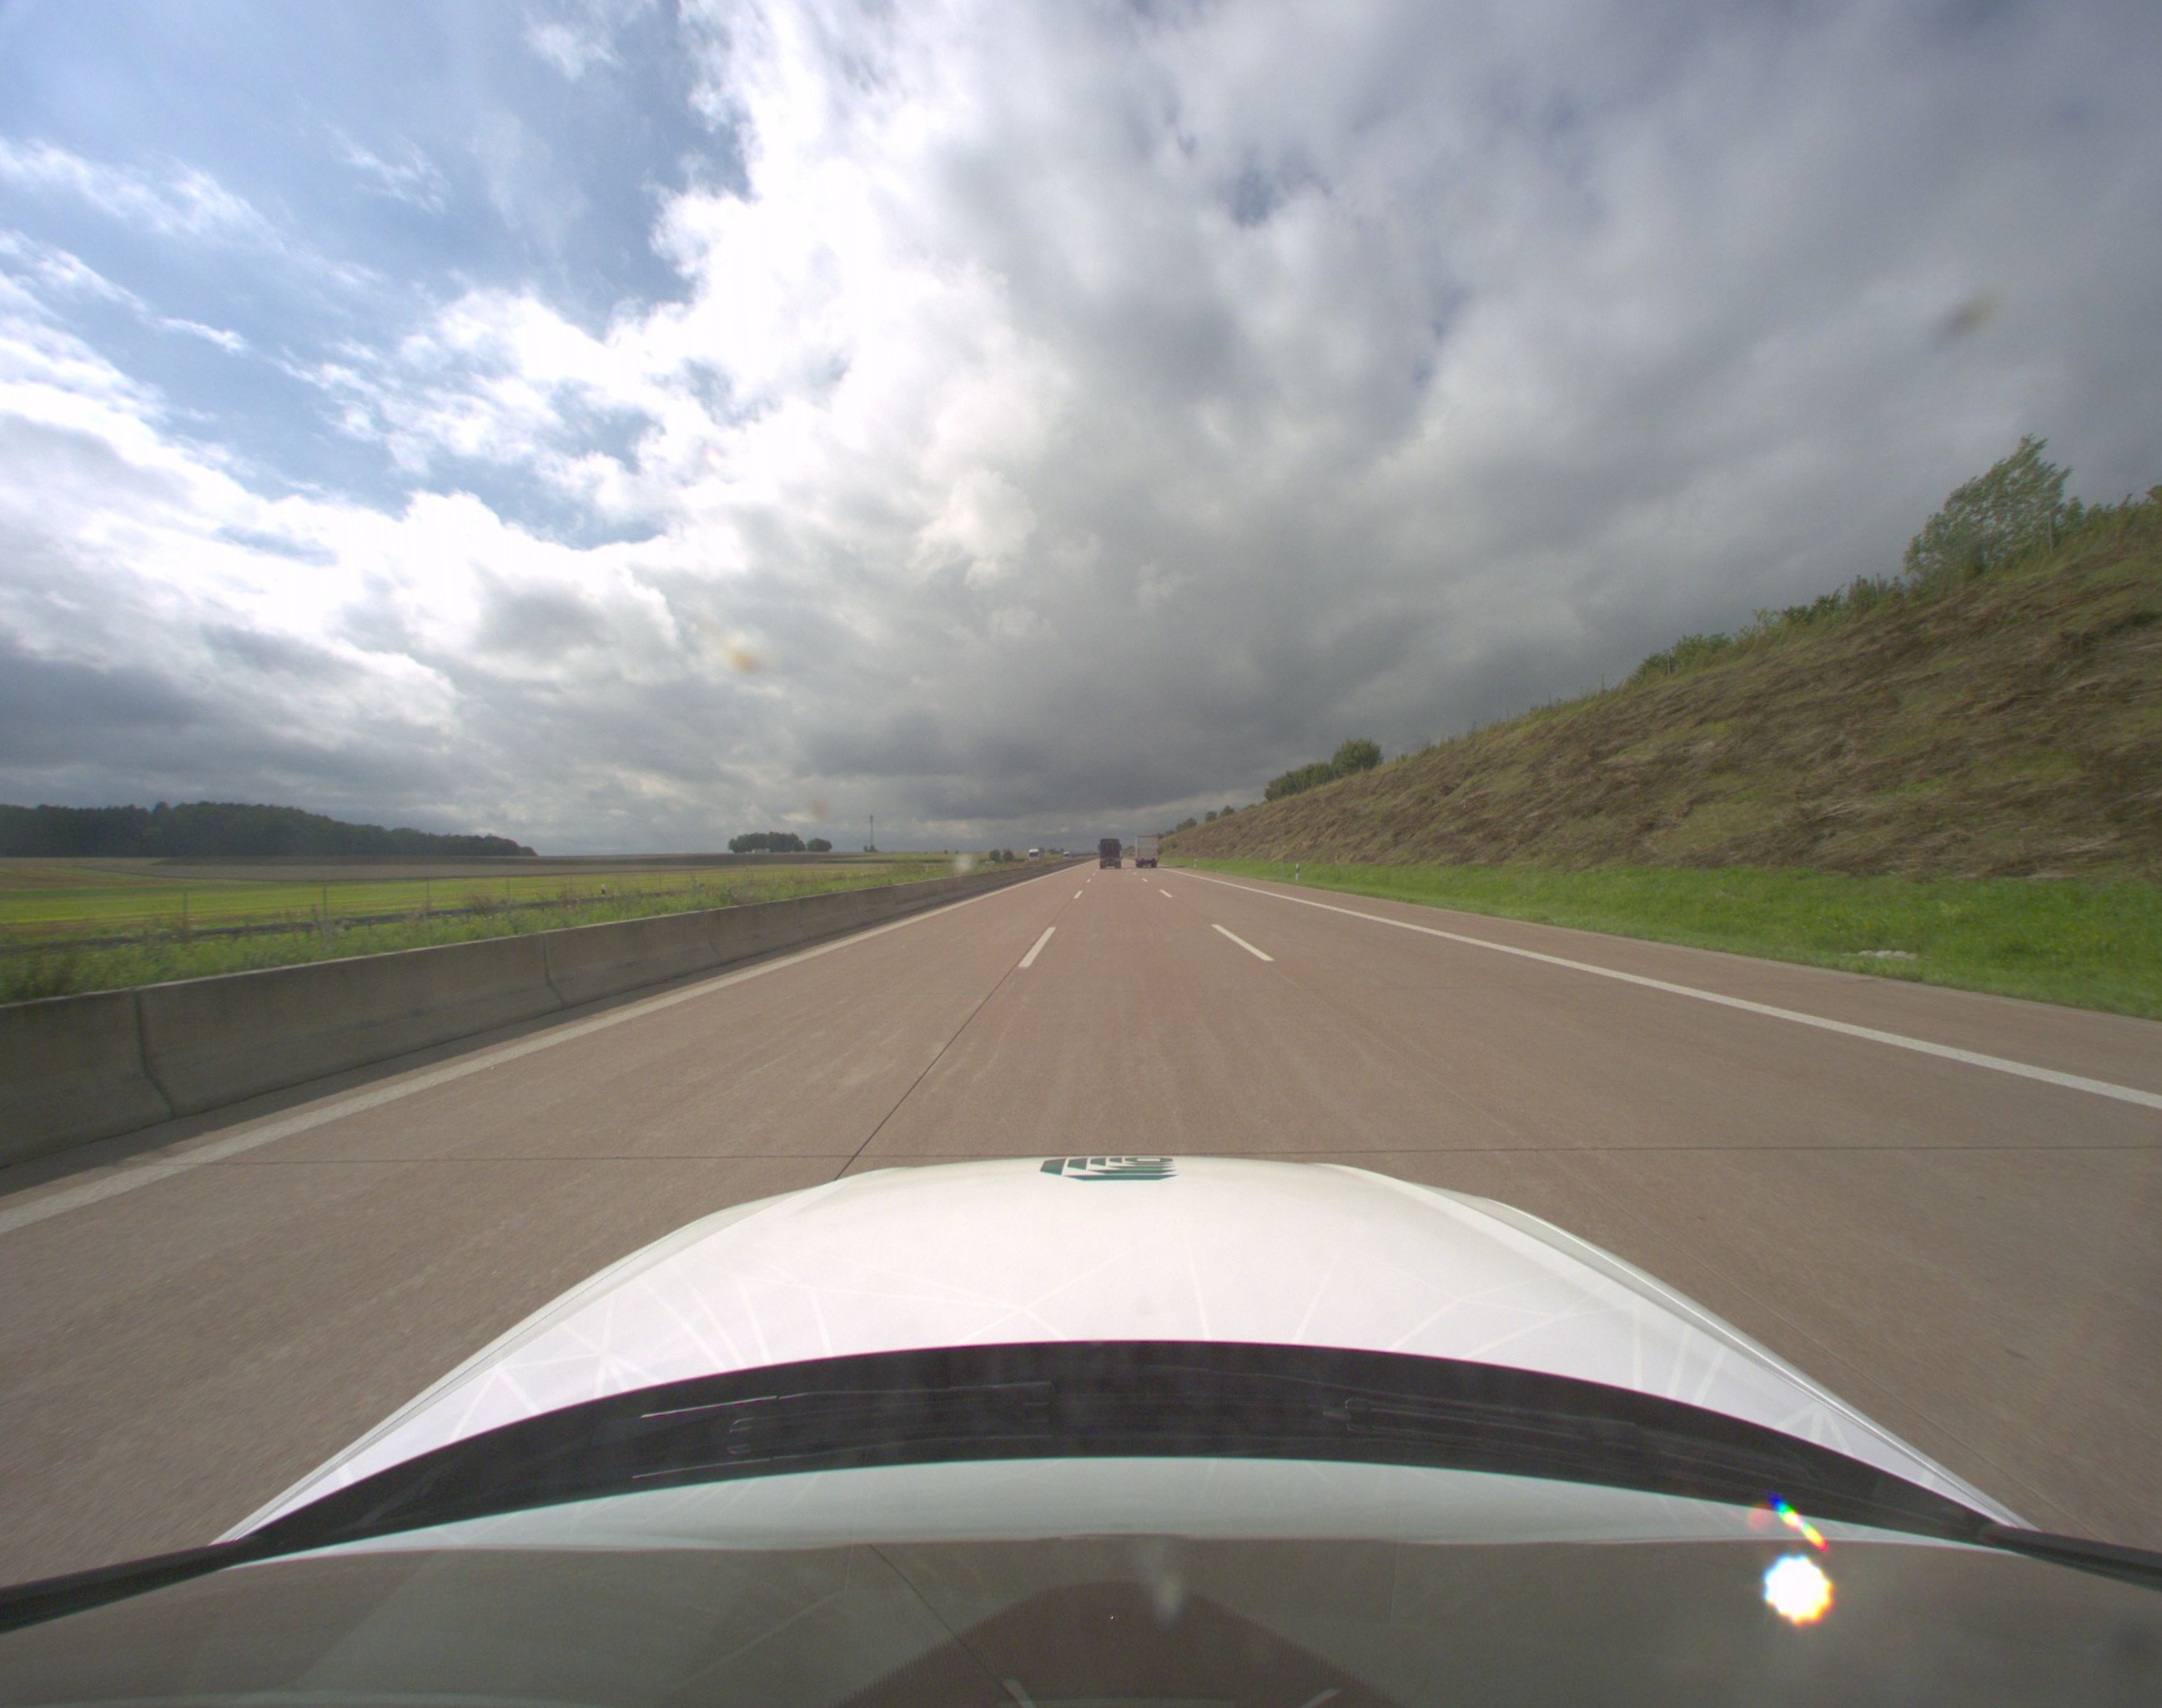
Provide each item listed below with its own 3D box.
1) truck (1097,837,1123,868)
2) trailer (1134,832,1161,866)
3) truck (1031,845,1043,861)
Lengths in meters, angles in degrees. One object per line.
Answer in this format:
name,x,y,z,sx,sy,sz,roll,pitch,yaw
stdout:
truck,3.476,-0.089,98.420,2.838,3.550,8.318,-1,-1,0
trailer,8.234,-0.532,101.893,2.739,4.012,8.669,-1,-1,0
truck,-11.371,-0.313,210.169,2.760,3.959,5.291,-2,0,1
